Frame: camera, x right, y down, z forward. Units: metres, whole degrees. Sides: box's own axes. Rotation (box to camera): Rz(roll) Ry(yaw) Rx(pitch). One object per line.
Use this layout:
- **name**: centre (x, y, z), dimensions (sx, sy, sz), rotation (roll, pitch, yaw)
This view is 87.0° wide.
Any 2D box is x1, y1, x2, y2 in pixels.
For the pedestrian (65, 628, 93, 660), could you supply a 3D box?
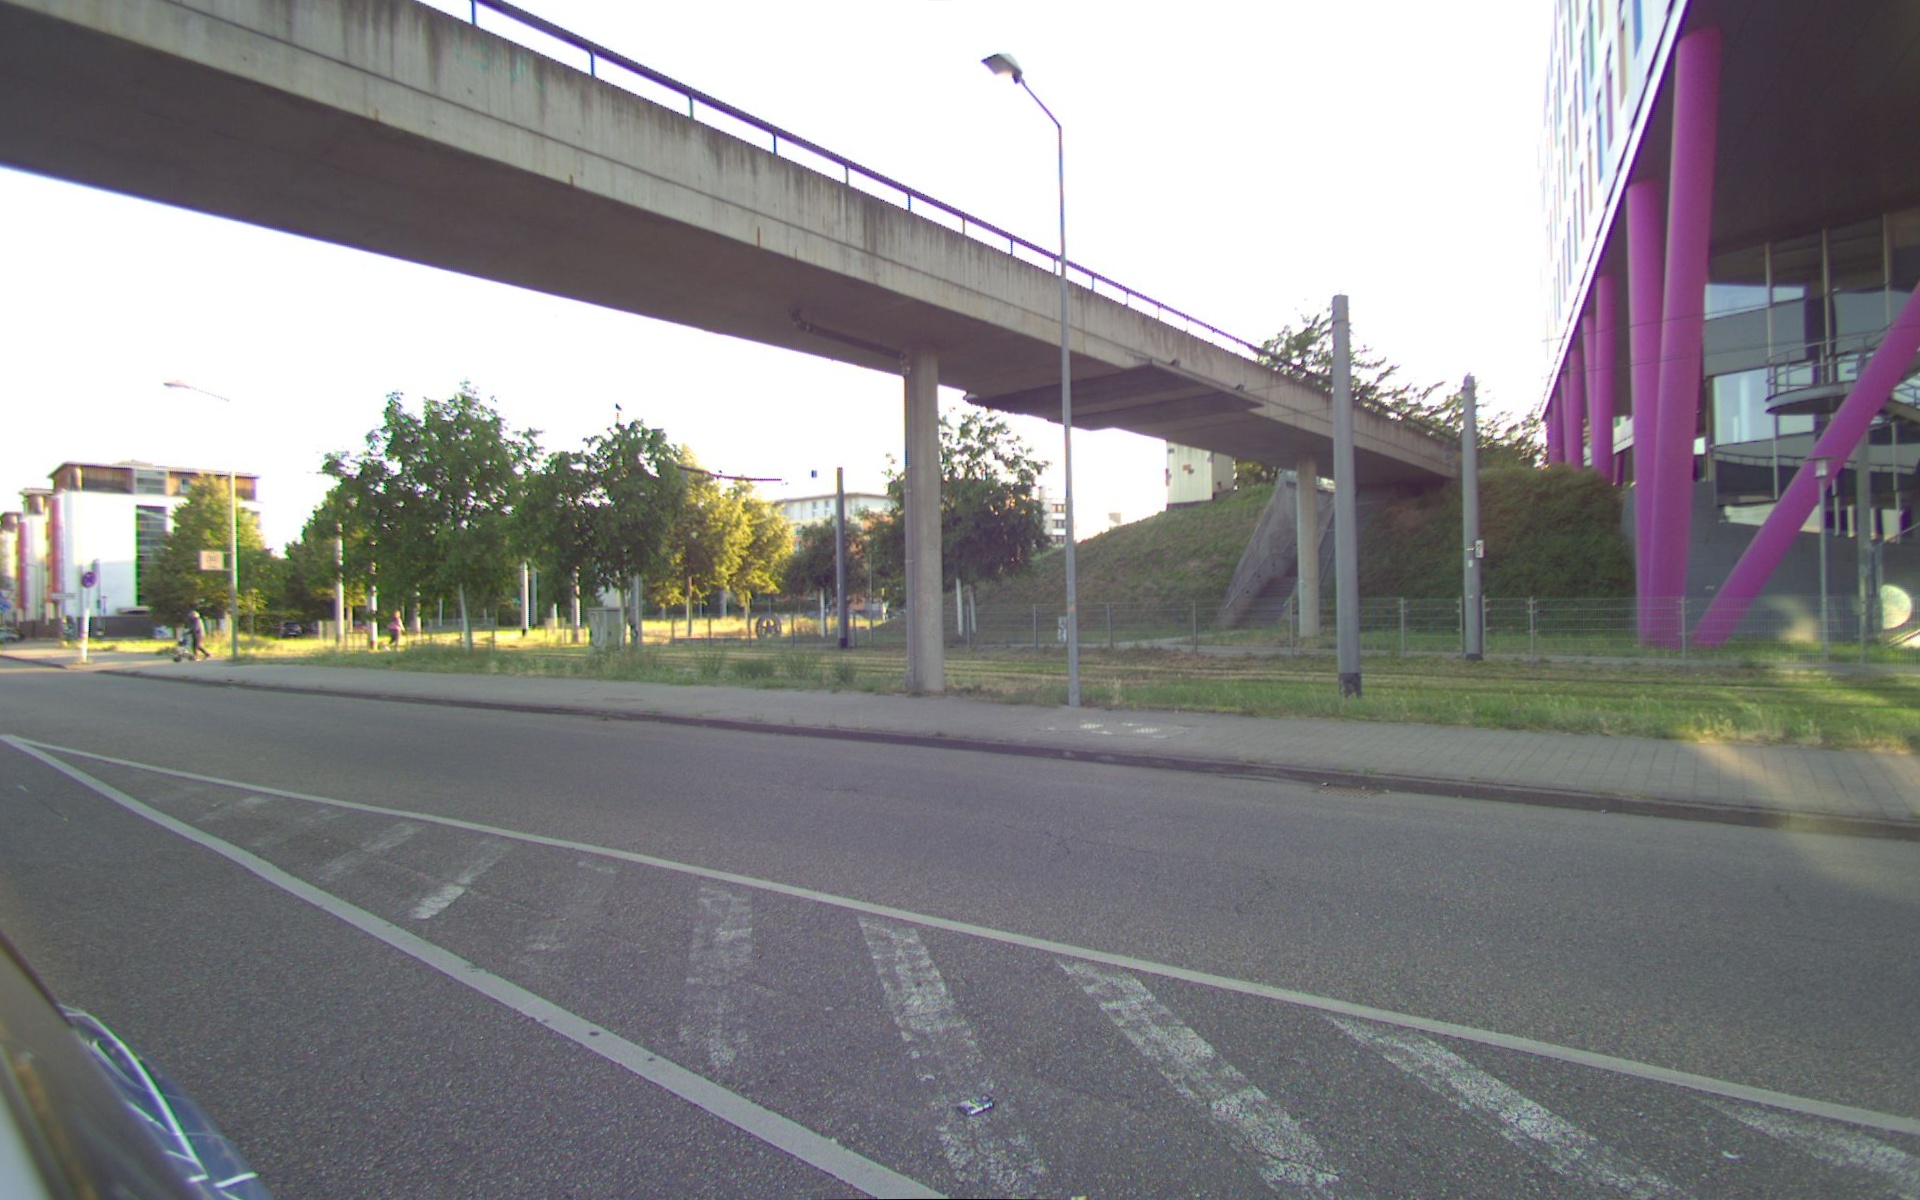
- **pedestrian**: centre (-58.629, 2.914, 67.343), dimensions (1.072, 2.029, 1.143), rotation (-1, 0, -21)

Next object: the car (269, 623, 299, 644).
- **car**: centre (-57.114, 2.813, 85.534), dimensions (1.842, 1.734, 3.853), rotation (-1, -1, -38)

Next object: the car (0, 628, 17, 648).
- **car**: centre (-80.771, 3.176, 83.404), dimensions (1.839, 1.571, 4.330), rotation (-1, 0, 42)

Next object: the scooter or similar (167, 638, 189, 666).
- **scooter or similar**: centre (-26.188, 1.727, 33.900), dimensions (0.544, 0.902, 0.724), rotation (1, -1, -40)

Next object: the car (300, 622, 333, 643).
- **car**: centre (-55.383, 2.784, 87.053), dimensions (1.843, 1.734, 3.851), rotation (-1, -1, -40)

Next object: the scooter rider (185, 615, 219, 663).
- **scooter rider**: centre (-25.713, 1.306, 34.322), dimensions (0.884, 1.589, 0.713), rotation (-1, -1, -41)

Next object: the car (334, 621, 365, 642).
- **car**: centre (-53.583, 2.760, 88.778), dimensions (1.842, 1.734, 3.853), rotation (-1, -1, -38)

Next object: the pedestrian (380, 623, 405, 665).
- **pedestrian**: centre (-22.086, 1.702, 39.394), dimensions (0.767, 1.623, 0.417), rotation (-1, -1, -38)
